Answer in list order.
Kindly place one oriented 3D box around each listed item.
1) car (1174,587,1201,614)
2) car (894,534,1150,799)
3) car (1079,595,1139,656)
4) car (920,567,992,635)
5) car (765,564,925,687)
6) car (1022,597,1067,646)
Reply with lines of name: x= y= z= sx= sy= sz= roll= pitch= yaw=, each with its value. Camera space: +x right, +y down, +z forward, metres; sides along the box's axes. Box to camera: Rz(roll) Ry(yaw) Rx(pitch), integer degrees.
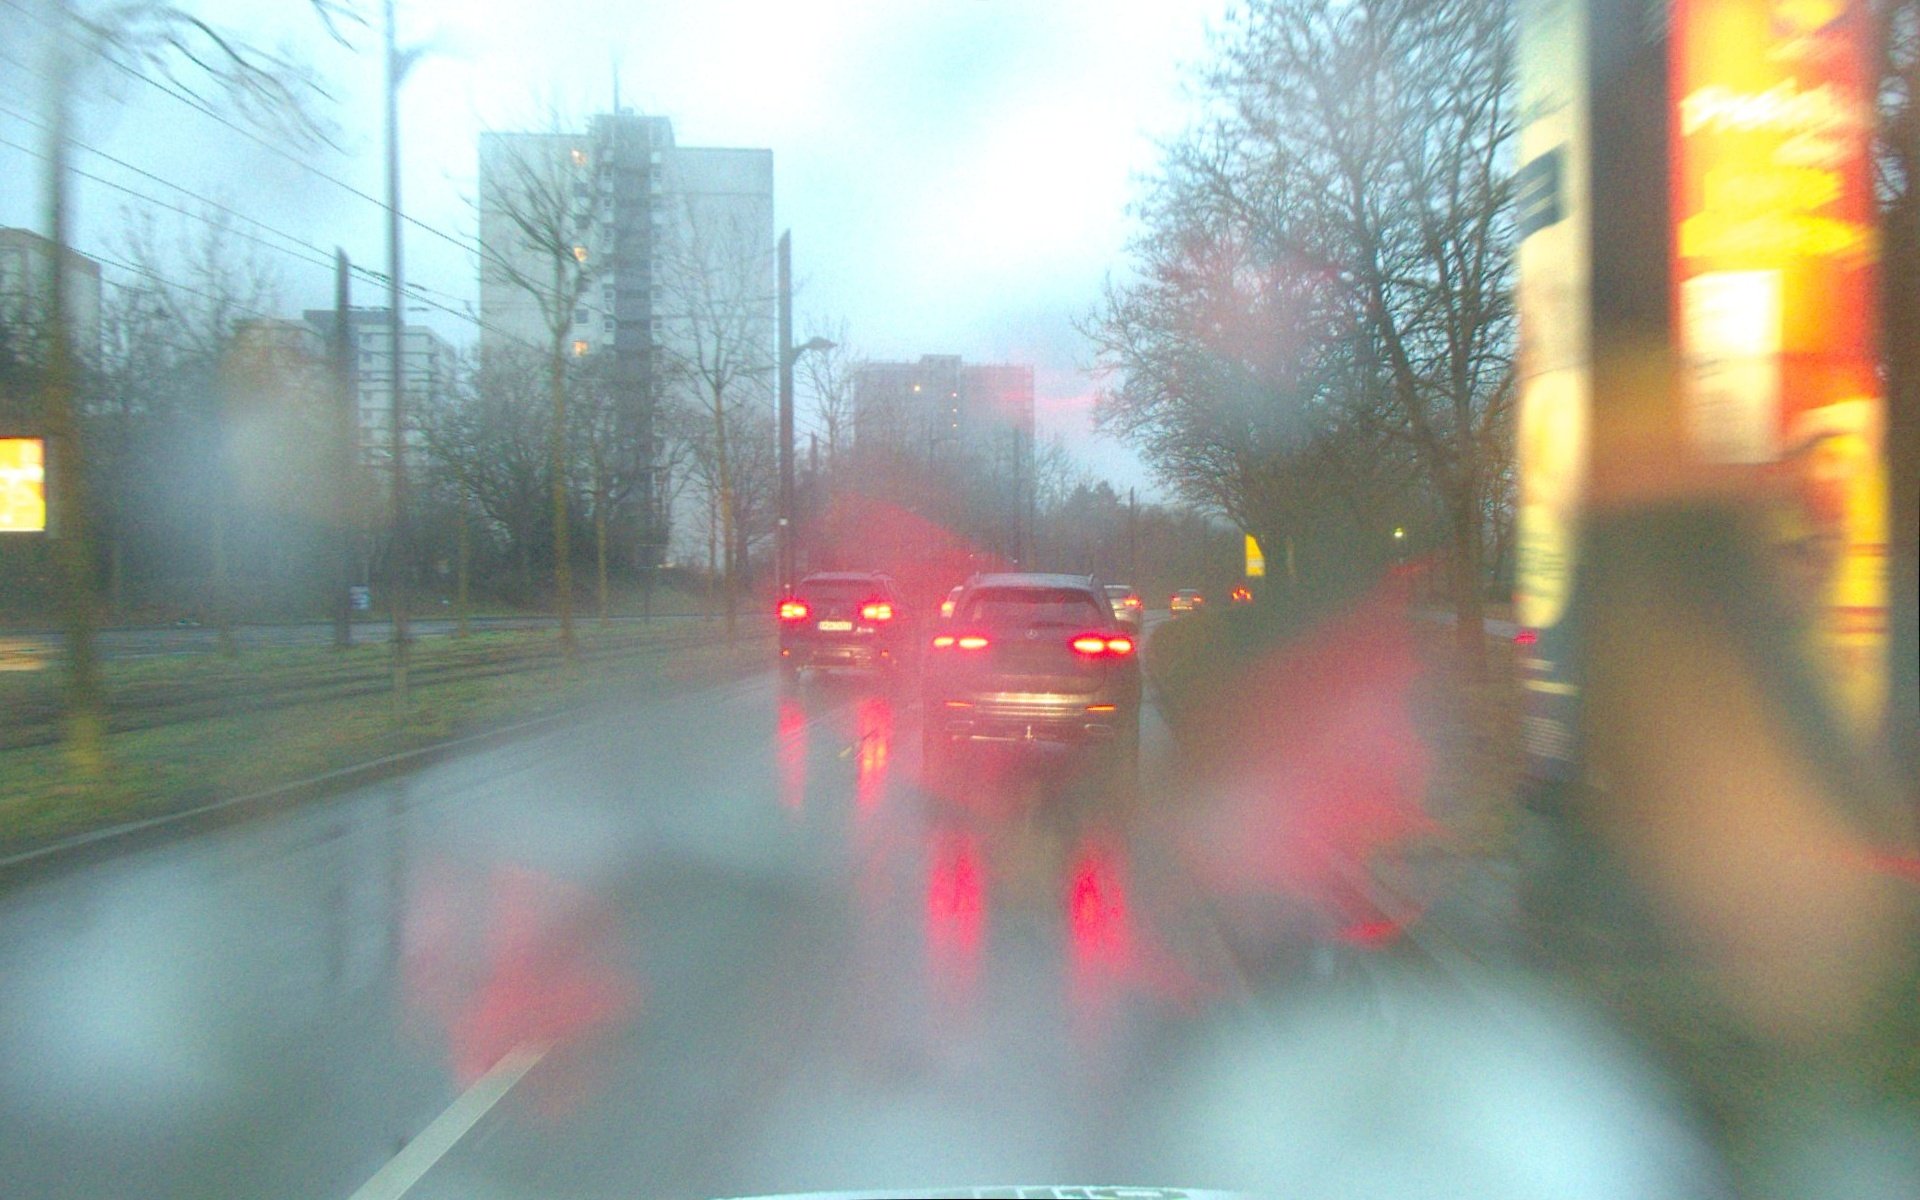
car: x=13.436 y=0.044 z=97.729 sx=1.502 sy=1.540 sz=3.345 roll=1 pitch=-1 yaw=8
car: x=0.552 y=0.544 z=14.808 sx=1.952 sy=2.010 sz=4.069 roll=1 pitch=-1 yaw=2
car: x=4.939 y=0.861 z=55.348 sx=1.818 sy=1.925 sz=4.001 roll=1 pitch=-1 yaw=3
car: x=-0.063 y=0.007 z=45.353 sx=1.789 sy=1.769 sz=3.807 roll=1 pitch=0 yaw=2
car: x=-1.709 y=0.406 z=26.014 sx=1.952 sy=1.742 sz=4.326 roll=1 pitch=-1 yaw=3
car: x=3.404 y=0.873 z=66.710 sx=1.735 sy=1.925 sz=3.643 roll=1 pitch=-1 yaw=3
